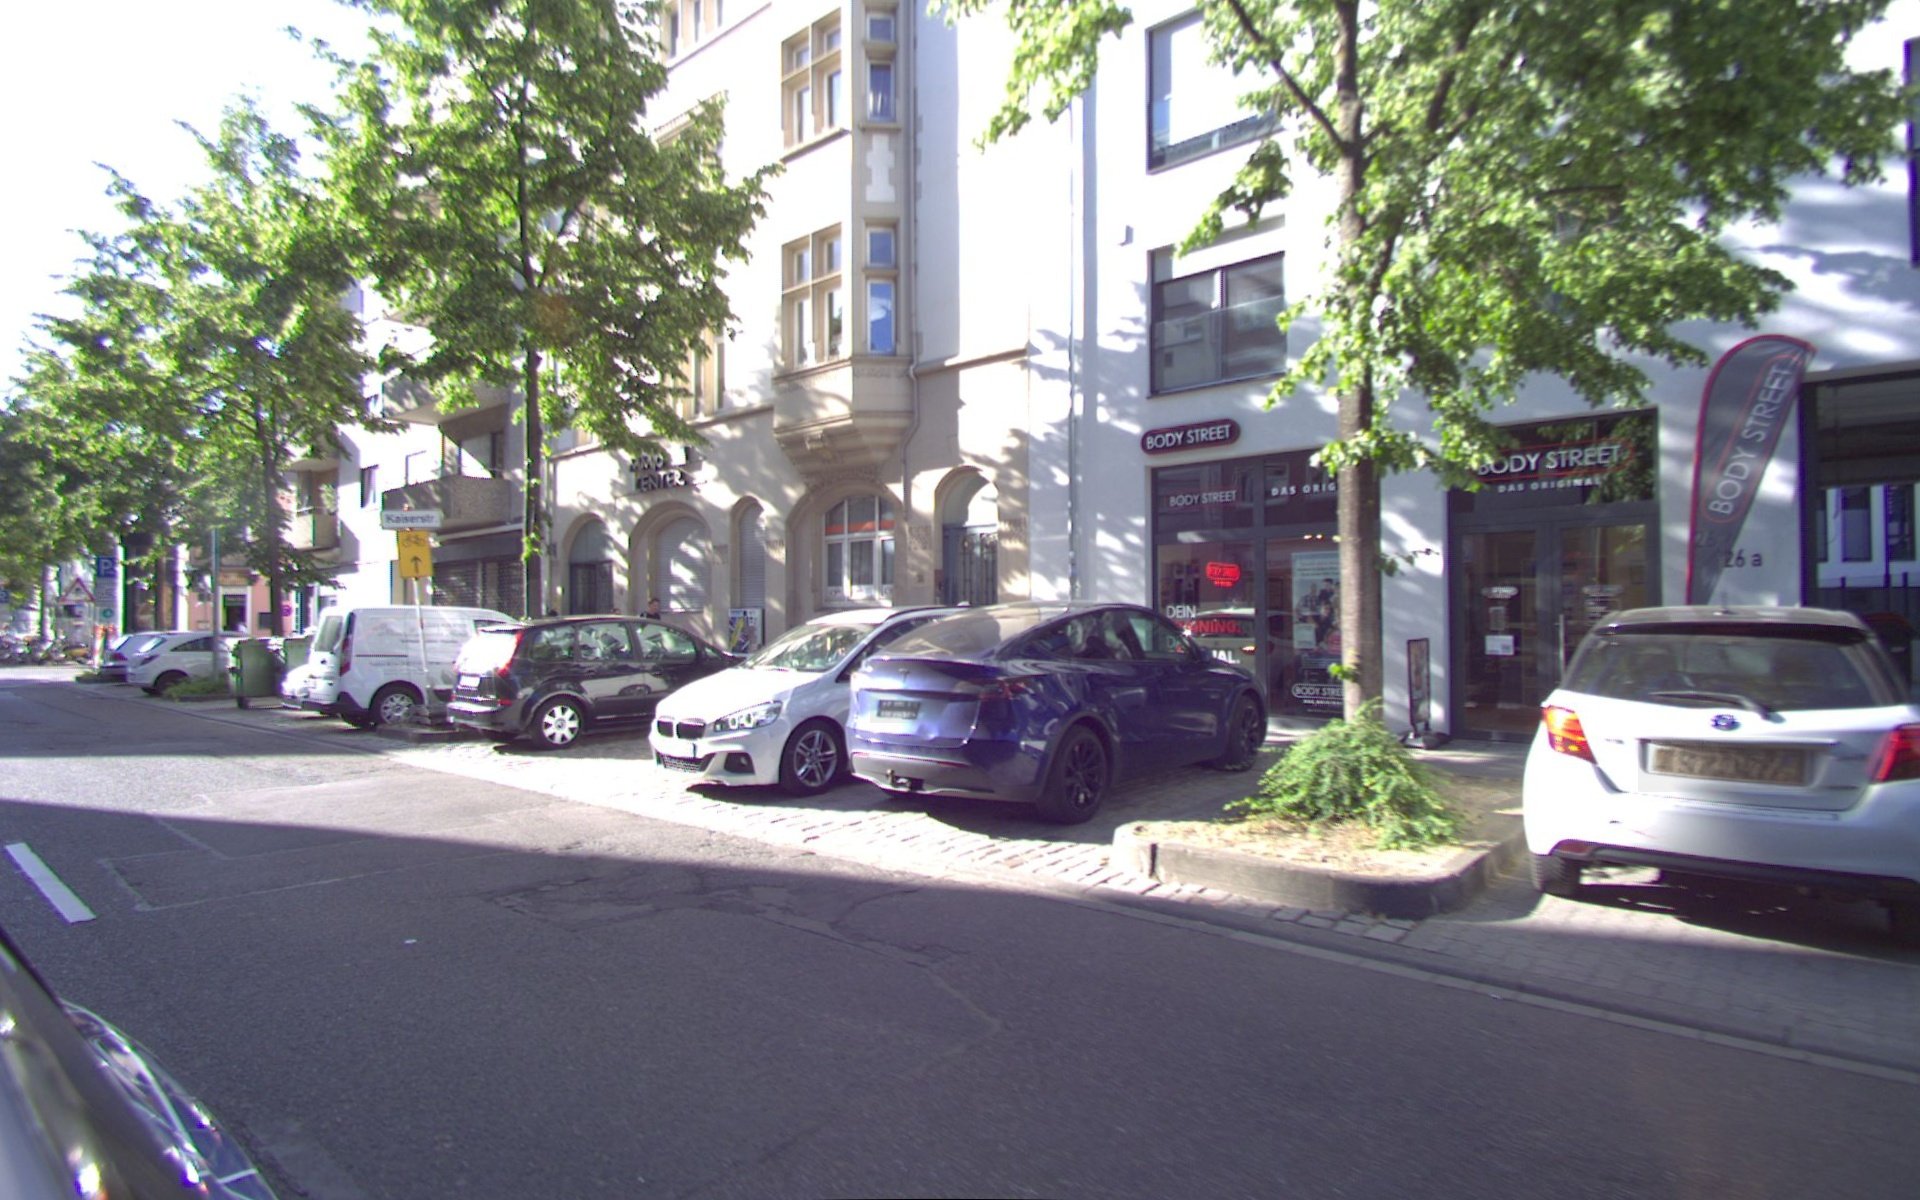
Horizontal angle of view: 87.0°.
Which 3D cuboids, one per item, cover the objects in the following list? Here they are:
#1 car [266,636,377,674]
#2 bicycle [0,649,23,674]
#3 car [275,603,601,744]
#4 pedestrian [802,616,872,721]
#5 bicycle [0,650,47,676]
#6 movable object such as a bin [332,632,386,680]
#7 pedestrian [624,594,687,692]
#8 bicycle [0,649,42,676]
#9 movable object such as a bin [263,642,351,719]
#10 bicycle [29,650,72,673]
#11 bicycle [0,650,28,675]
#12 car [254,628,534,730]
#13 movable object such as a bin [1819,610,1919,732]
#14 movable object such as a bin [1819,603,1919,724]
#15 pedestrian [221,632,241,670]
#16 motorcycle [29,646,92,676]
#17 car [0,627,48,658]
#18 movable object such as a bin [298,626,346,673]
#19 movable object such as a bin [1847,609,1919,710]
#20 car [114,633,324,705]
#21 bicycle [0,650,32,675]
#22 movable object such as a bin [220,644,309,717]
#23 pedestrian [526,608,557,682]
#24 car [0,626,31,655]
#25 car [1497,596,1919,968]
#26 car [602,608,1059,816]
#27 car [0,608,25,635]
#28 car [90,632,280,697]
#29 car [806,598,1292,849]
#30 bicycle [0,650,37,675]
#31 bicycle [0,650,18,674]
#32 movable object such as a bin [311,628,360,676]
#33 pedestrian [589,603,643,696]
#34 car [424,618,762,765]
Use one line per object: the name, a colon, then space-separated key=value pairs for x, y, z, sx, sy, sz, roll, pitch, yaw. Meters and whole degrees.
car: x=-26.713 y=2.271 z=42.480 sx=1.889 sy=1.488 sz=3.581 roll=-1 pitch=-2 yaw=18
bicycle: x=-42.478 y=2.738 z=44.397 sx=0.471 sy=1.037 sz=1.987 roll=-2 pitch=0 yaw=28
car: x=-7.995 y=1.017 z=15.765 sx=2.037 sy=1.850 sz=4.063 roll=-2 pitch=-1 yaw=41
pedestrian: x=-1.858 y=1.011 z=15.281 sx=0.842 sy=1.505 sz=0.586 roll=-2 pitch=0 yaw=42
bicycle: x=-40.341 y=2.696 z=43.221 sx=0.471 sy=1.037 sz=1.987 roll=-2 pitch=0 yaw=28
movable object such as a bin: x=-18.264 y=1.683 z=30.753 sx=1.351 sy=1.426 sz=1.066 roll=-2 pitch=-3 yaw=42
pedestrian: x=-5.826 y=0.802 z=19.378 sx=0.762 sy=1.779 sz=0.767 roll=-2 pitch=2 yaw=39
bicycle: x=-40.807 y=2.700 z=43.486 sx=0.471 sy=1.037 sz=1.987 roll=-2 pitch=0 yaw=28
movable object such as a bin: x=-12.340 y=1.494 z=19.139 sx=0.931 sy=1.355 sz=1.180 roll=-2 pitch=-1 yaw=40
bicycle: x=-40.446 y=2.720 z=45.010 sx=1.493 sy=0.958 sz=0.360 roll=-2 pitch=0 yaw=-8
bicycle: x=-42.065 y=2.747 z=44.171 sx=0.471 sy=1.037 sz=1.987 roll=-2 pitch=0 yaw=28
car: x=-9.900 y=1.302 z=17.910 sx=1.886 sy=1.475 sz=3.938 roll=-2 pitch=-1 yaw=41
movable object such as a bin: x=10.929 y=0.803 z=11.978 sx=1.104 sy=1.317 sz=1.533 roll=-3 pitch=-1 yaw=40
movable object such as a bin: x=11.905 y=0.791 z=13.123 sx=1.104 sy=1.452 sz=1.533 roll=-3 pitch=-1 yaw=40
pedestrian: x=-34.054 y=2.365 z=47.291 sx=0.579 sy=1.740 sz=0.622 roll=-2 pitch=-2 yaw=38
motorcycle: x=-38.860 y=2.625 z=43.746 sx=0.740 sy=1.194 sz=1.977 roll=-2 pitch=-1 yaw=43
car: x=-54.454 y=2.421 z=57.233 sx=1.998 sy=1.693 sz=4.082 roll=-2 pitch=-1 yaw=40
movable object such as a bin: x=-20.772 y=1.596 z=32.941 sx=1.258 sy=1.471 sz=1.022 roll=-2 pitch=-3 yaw=42
movable object such as a bin: x=13.243 y=0.804 z=14.207 sx=1.104 sy=1.317 sz=1.533 roll=-3 pitch=-1 yaw=40
car: x=-17.637 y=1.585 z=24.232 sx=1.708 sy=1.475 sz=3.742 roll=-2 pitch=-1 yaw=38
bicycle: x=-41.684 y=2.738 z=43.967 sx=0.471 sy=1.037 sz=1.987 roll=-2 pitch=0 yaw=28
movable object such as a bin: x=-13.353 y=1.524 z=19.434 sx=0.869 sy=1.312 sz=1.225 roll=-2 pitch=-2 yaw=40
pedestrian: x=-9.704 y=1.025 z=23.475 sx=0.639 sy=1.684 sz=0.429 roll=-2 pitch=-1 yaw=44
car: x=-58.649 y=2.458 z=60.705 sx=1.998 sy=1.693 sz=4.082 roll=-2 pitch=-1 yaw=40
car: x=4.667 y=0.742 z=5.982 sx=1.977 sy=1.470 sz=4.206 roll=-2 pitch=-1 yaw=37
car: x=-1.070 y=0.901 z=10.074 sx=1.945 sy=1.582 sz=4.321 roll=-2 pitch=-2 yaw=41
car: x=-60.534 y=1.334 z=62.374 sx=1.998 sy=1.693 sz=4.082 roll=-2 pitch=-1 yaw=40
car: x=-21.672 y=1.734 z=28.422 sx=1.748 sy=1.475 sz=3.957 roll=0 pitch=1 yaw=41
car: x=0.991 y=0.809 z=8.688 sx=1.979 sy=1.582 sz=4.321 roll=-2 pitch=-2 yaw=41
bicycle: x=-41.248 y=2.721 z=43.737 sx=0.471 sy=1.037 sz=1.987 roll=-2 pitch=0 yaw=28
bicycle: x=-42.940 y=2.759 z=44.637 sx=0.471 sy=1.037 sz=1.987 roll=-2 pitch=0 yaw=28
movable object such as a bin: x=-19.728 y=1.639 z=31.968 sx=1.258 sy=1.471 sz=1.022 roll=-2 pitch=-3 yaw=42
pedestrian: x=-6.368 y=0.908 z=18.749 sx=0.726 sy=1.638 sz=0.560 roll=-2 pitch=2 yaw=39
car: x=-4.653 y=1.060 z=13.210 sx=1.791 sy=1.570 sz=3.760 roll=-2 pitch=-2 yaw=41
